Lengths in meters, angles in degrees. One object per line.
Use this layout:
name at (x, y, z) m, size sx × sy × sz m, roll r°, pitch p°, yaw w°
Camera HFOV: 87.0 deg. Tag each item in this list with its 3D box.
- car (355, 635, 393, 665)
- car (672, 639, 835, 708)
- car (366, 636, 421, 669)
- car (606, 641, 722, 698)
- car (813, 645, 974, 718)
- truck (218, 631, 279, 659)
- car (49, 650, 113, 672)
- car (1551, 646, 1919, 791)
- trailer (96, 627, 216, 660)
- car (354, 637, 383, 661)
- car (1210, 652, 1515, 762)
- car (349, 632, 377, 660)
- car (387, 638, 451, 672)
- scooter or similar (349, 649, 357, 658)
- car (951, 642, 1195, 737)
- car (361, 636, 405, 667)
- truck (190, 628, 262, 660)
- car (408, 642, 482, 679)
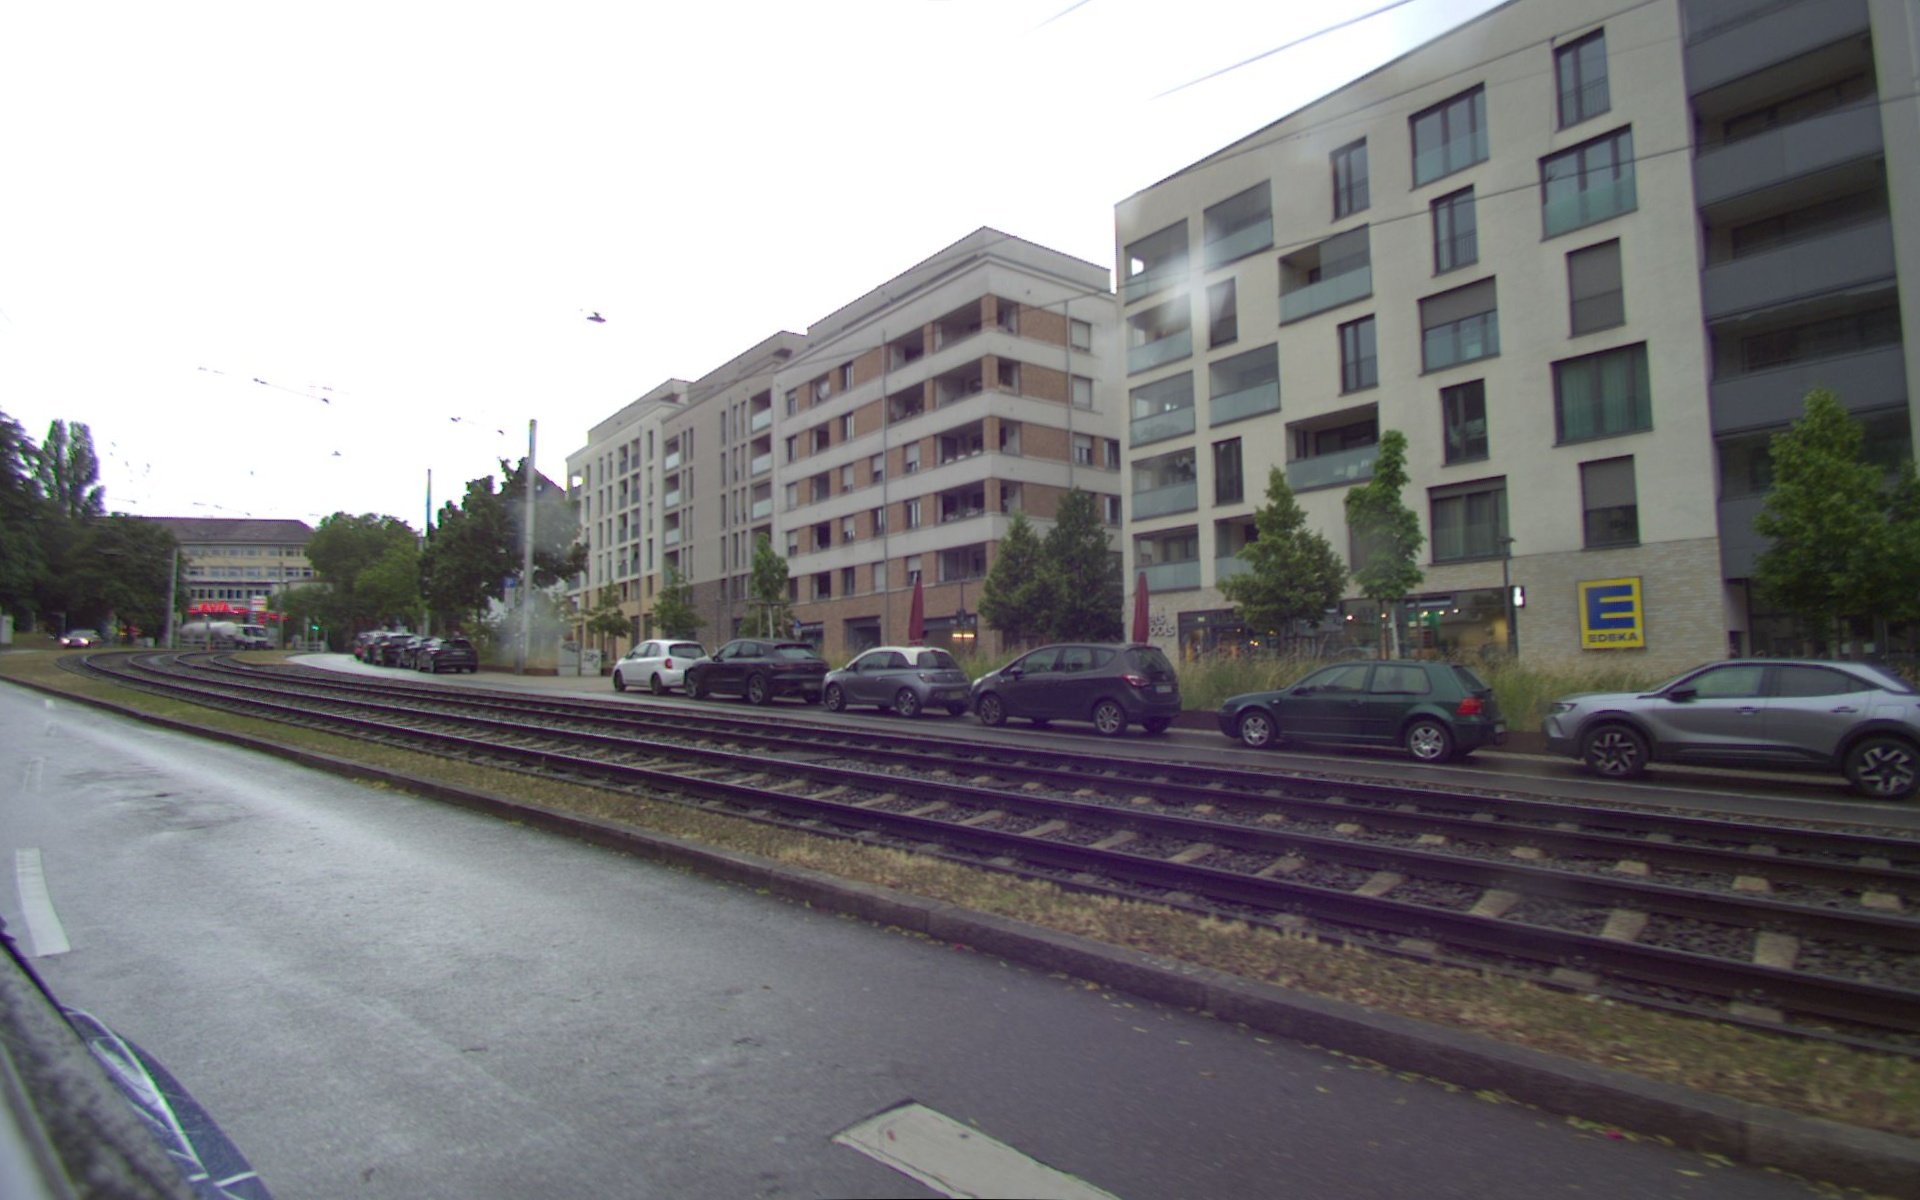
car at (-35.310, 2.994, 60.923) m, size 1.640 × 1.761 × 4.268 m, roll 2°, pitch -3°, yaw -35°
car at (-5.265, 1.793, 25.463) m, size 4.404 × 1.573 × 1.746 m, roll -2°, pitch -4°, yaw 42°
car at (-28.878, 2.630, 51.525) m, size 1.779 × 1.596 × 4.708 m, roll 1°, pitch -3°, yaw -37°
car at (-8.502, 1.946, 28.883) m, size 1.744 × 1.490 × 3.739 m, roll 3°, pitch -4°, yaw -41°
car at (-1.486, 1.716, 22.062) m, size 3.450 × 1.446 × 1.532 m, roll -2°, pitch -4°, yaw 42°
truck at (-96.058, 6.113, 136.854) m, size 2.619 × 3.596 × 10.277 m, roll 0°, pitch -3°, yaw -11°
car at (-65.192, 4.507, 75.146) m, size 1.860 × 1.502 × 3.858 m, roll 1°, pitch -3°, yaw -12°
car at (9.653, 1.352, 12.453) m, size 3.916 × 1.515 × 1.755 m, roll -1°, pitch -4°, yaw 38°
trailer at (-86.274, 4.731, 108.838) m, size 9.667 × 3.422 × 2.822 m, roll 2°, pitch -3°, yaw -31°
car at (-37.957, 3.139, 64.965) m, size 1.449 × 1.543 × 2.940 m, roll 1°, pitch -3°, yaw -28°
car at (5.956, 1.513, 15.276) m, size 4.009 × 1.373 × 1.532 m, roll -2°, pitch -2°, yaw 42°
car at (-43.218, 3.317, 73.220) m, size 1.559 × 1.873 × 4.345 m, roll 0°, pitch -2°, yaw -32°
car at (-25.656, 2.562, 47.952) m, size 1.716 × 1.500 × 4.262 m, roll 1°, pitch -2°, yaw -42°
scooter or similar at (-89.533, 7.876, 149.383) m, size 0.395 × 1.202 × 1.363 m, roll 0°, pitch 0°, yaw -2°
car at (1.981, 1.548, 18.663) m, size 4.317 × 1.525 × 1.701 m, roll -2°, pitch -3°, yaw 42°
car at (-32.049, 2.822, 56.156) m, size 1.708 × 1.657 × 4.542 m, roll 1°, pitch -2°, yaw -35°
truck at (-81.137, 4.903, 111.993) m, size 6.021 × 3.426 × 2.845 m, roll 2°, pitch -4°, yaw -31°
car at (-21.961, 2.535, 43.083) m, size 1.941 × 1.442 × 4.206 m, roll 1°, pitch -2°, yaw -40°
